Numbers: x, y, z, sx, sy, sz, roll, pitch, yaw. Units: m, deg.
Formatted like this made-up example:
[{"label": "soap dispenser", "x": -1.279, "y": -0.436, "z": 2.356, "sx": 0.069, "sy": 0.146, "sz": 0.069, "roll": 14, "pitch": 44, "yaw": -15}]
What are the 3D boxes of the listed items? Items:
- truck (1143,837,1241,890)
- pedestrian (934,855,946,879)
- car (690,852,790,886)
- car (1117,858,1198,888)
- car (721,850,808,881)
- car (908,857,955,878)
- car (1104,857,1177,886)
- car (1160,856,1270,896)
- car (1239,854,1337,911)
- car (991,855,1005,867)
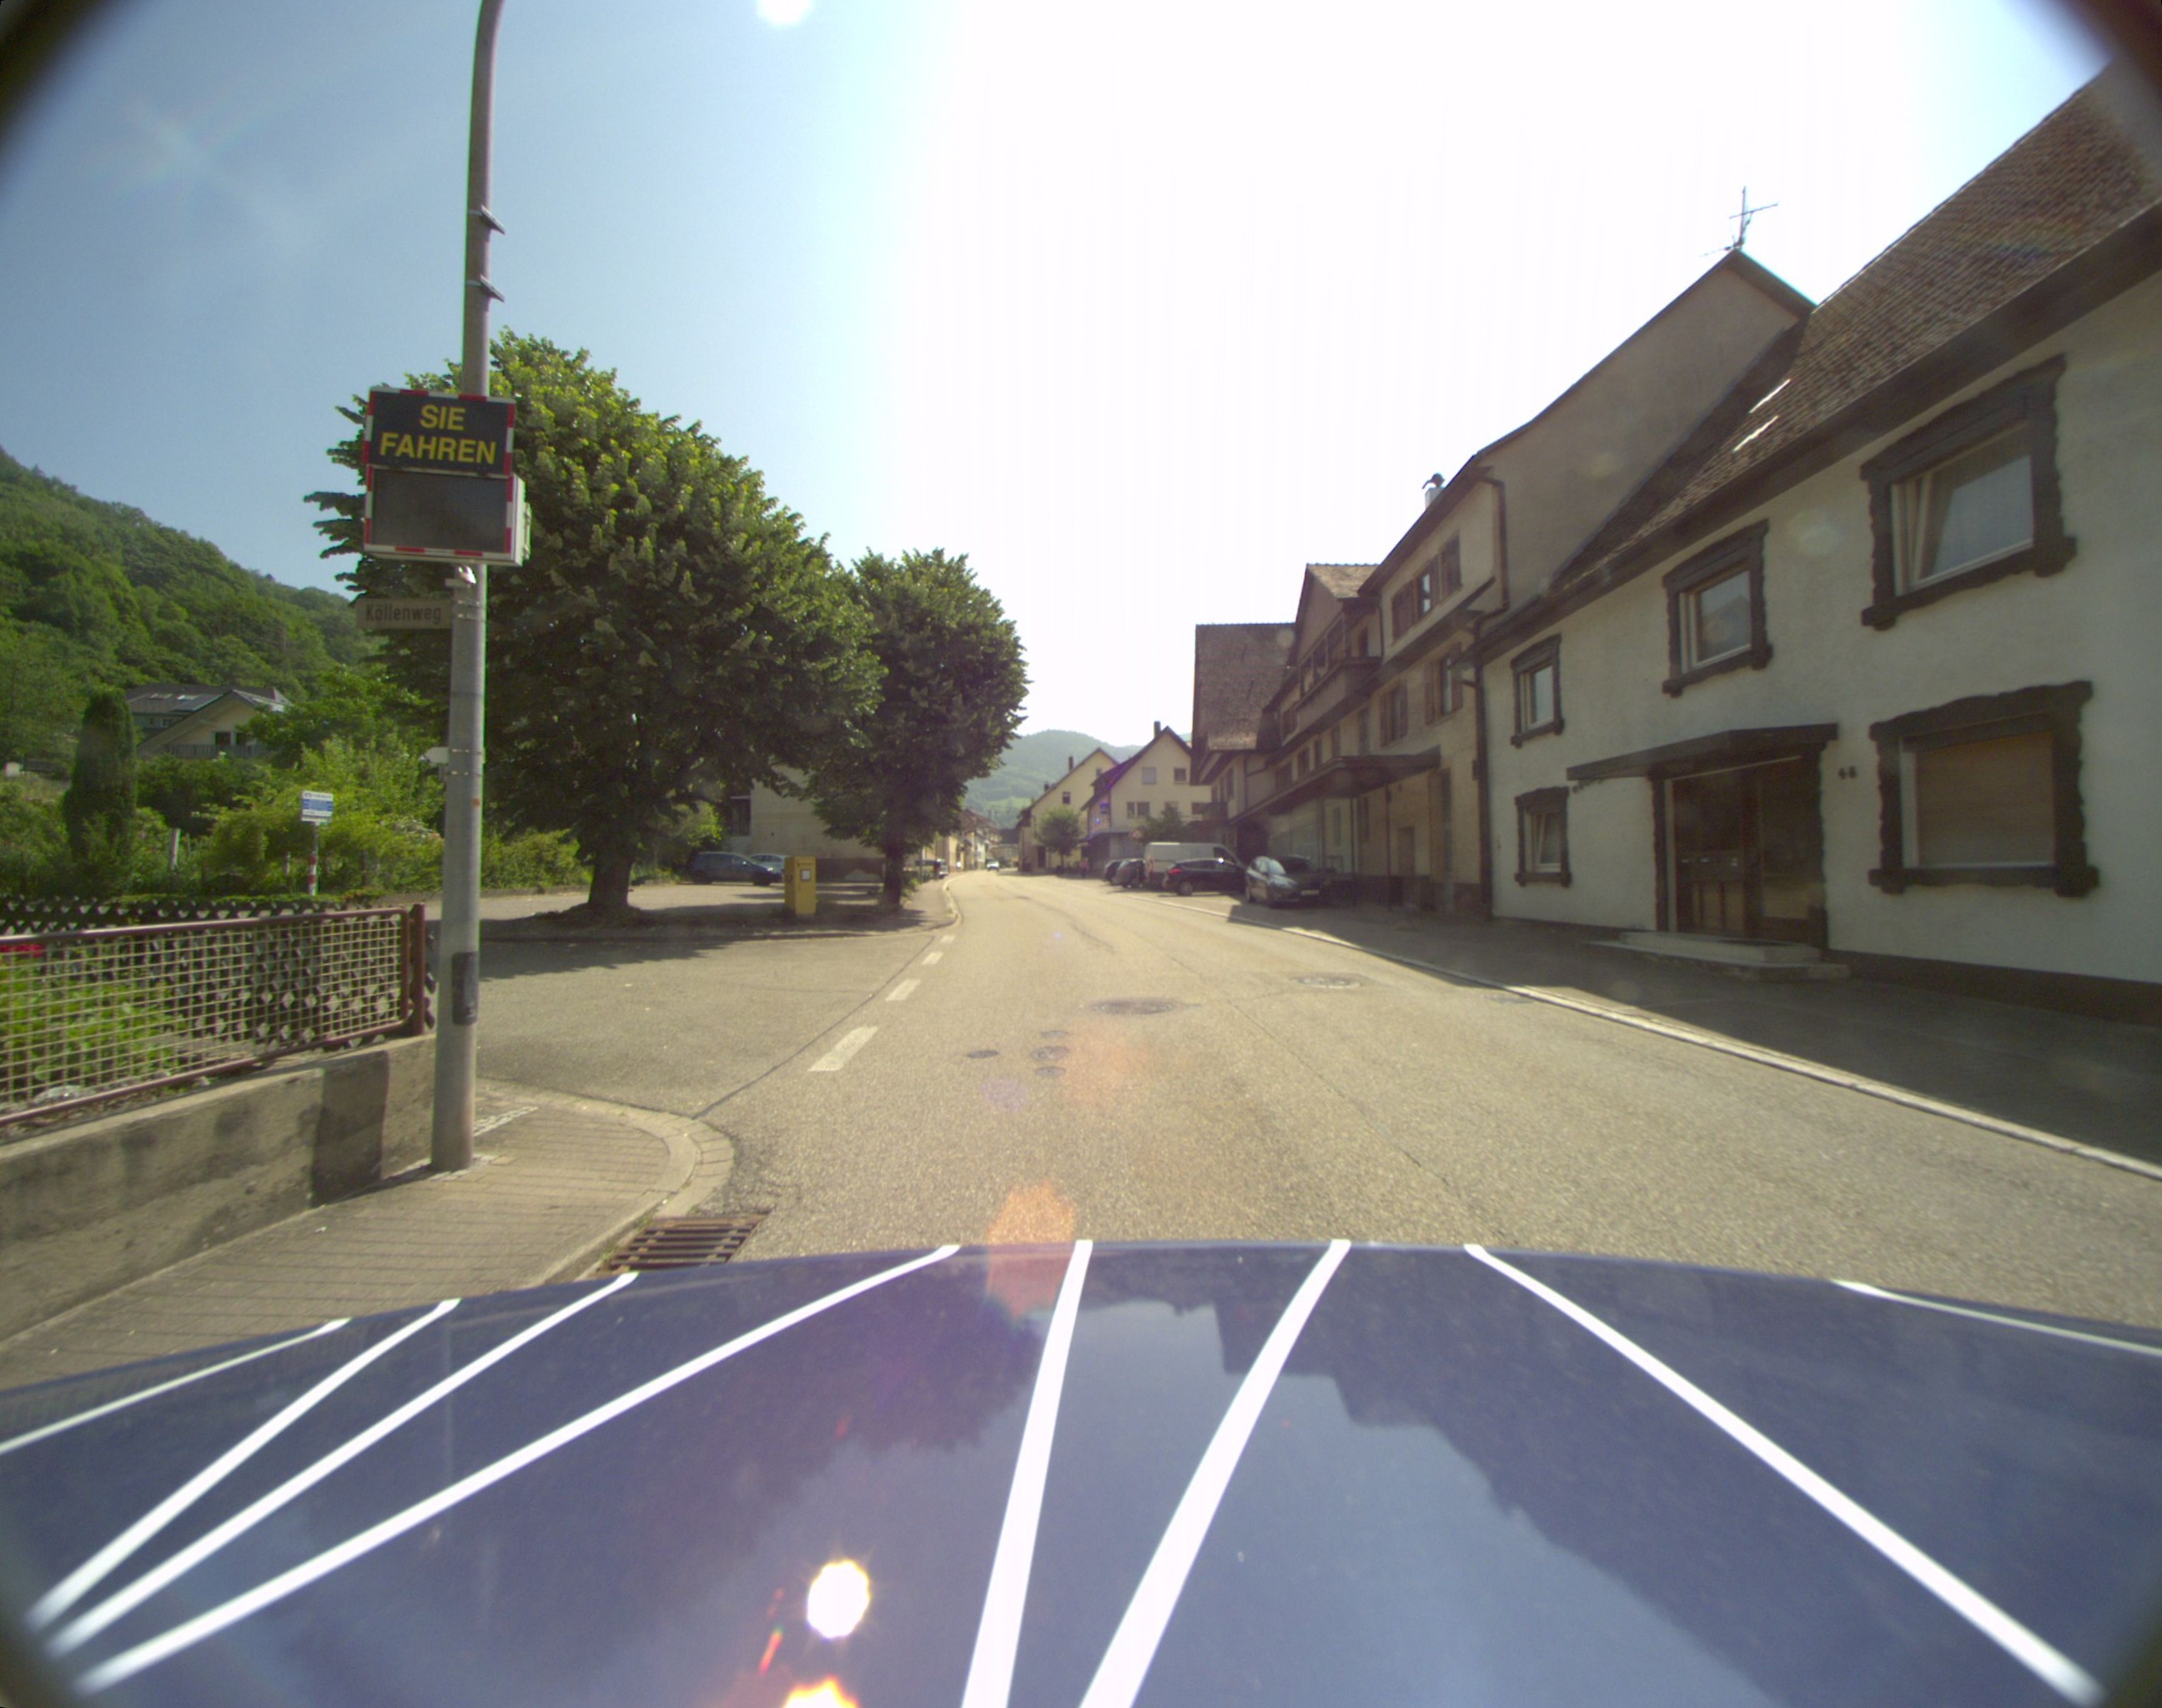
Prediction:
[{"label": "truck", "x": 5.154, "y": 0.431, "z": 35.560, "sx": 4.177, "sy": 2.253, "sz": 1.999, "roll": -2, "pitch": 0, "yaw": -3}, {"label": "pedestrian", "x": -9.832, "y": 0.893, "z": 52.979, "sx": 0.682, "sy": 1.661, "sz": 0.712, "roll": 1, "pitch": 0, "yaw": 2}, {"label": "car", "x": -15.405, "y": 0.664, "z": 34.492, "sx": 3.846, "sy": 1.398, "sz": 1.564, "roll": 2, "pitch": 0, "yaw": -12}, {"label": "car", "x": 3.932, "y": 0.976, "z": 39.546, "sx": 3.998, "sy": 1.444, "sz": 1.627, "roll": 1, "pitch": 0, "yaw": -2}, {"label": "car", "x": -16.462, "y": 0.596, "z": 39.696, "sx": 3.951, "sy": 1.462, "sz": 1.653, "roll": 2, "pitch": 0, "yaw": -13}, {"label": "car", "x": -12.095, "y": 1.094, "z": 61.454, "sx": 3.339, "sy": 1.587, "sz": 1.652, "roll": 1, "pitch": 0, "yaw": 14}, {"label": "car", "x": 3.314, "y": 0.972, "z": 42.644, "sx": 3.996, "sy": 1.563, "sz": 1.577, "roll": 1, "pitch": 0, "yaw": 4}, {"label": "car", "x": 5.305, "y": 0.865, "z": 30.466, "sx": 4.105, "sy": 1.494, "sz": 1.754, "roll": -1, "pitch": 0, "yaw": 1}, {"label": "car", "x": 6.234, "y": 0.802, "z": 23.337, "sx": 1.774, "sy": 1.544, "sz": 4.285, "roll": -2, "pitch": 0, "yaw": 0}, {"label": "car", "x": -15.141, "y": 1.212, "z": 138.363, "sx": 1.999, "sy": 2.002, "sz": 4.000, "roll": -3, "pitch": 0, "yaw": -1}]
